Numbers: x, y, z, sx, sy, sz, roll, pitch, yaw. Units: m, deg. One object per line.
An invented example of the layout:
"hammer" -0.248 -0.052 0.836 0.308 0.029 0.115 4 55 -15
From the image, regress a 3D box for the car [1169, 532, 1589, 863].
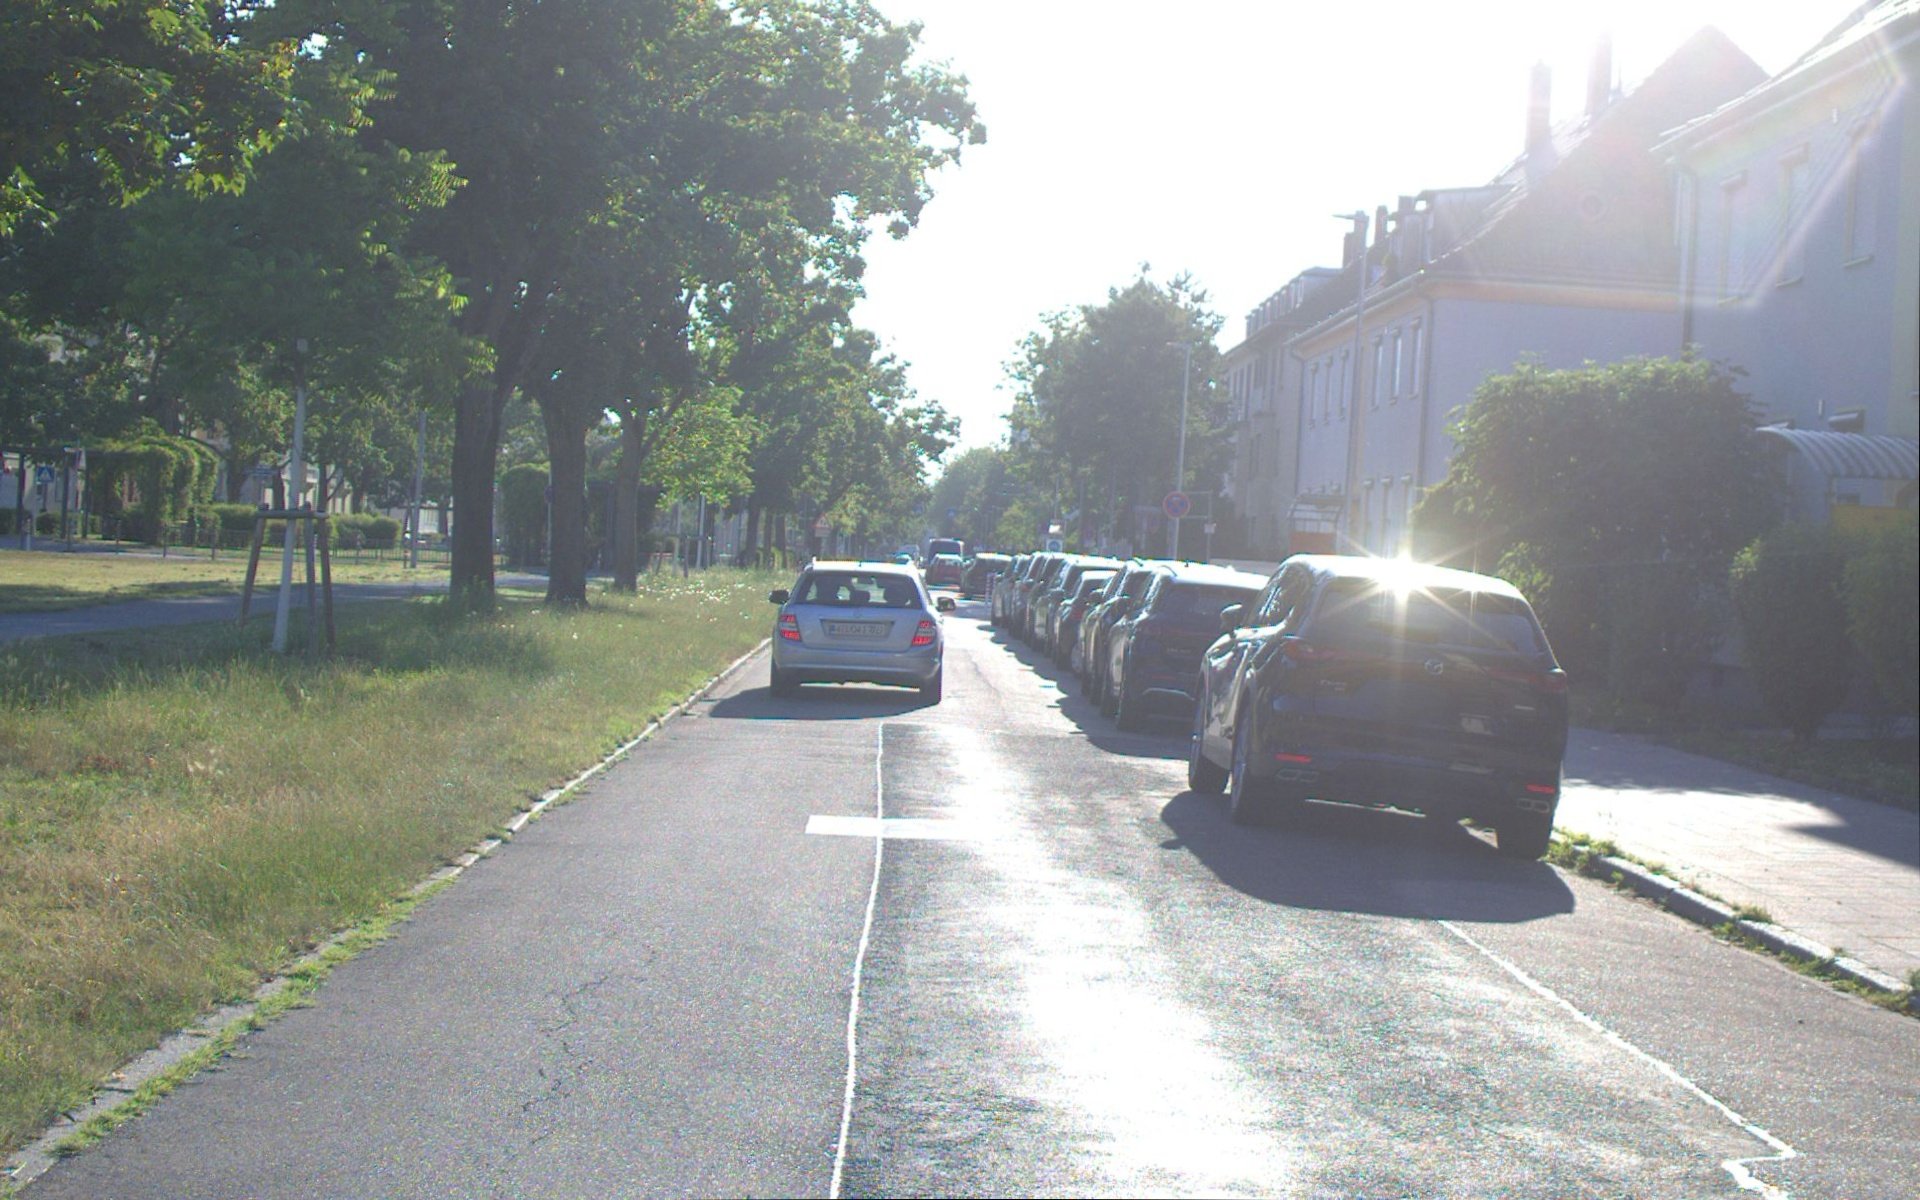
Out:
"car" 2.548 0.538 22.178 1.832 1.726 5.032 6 0 -1

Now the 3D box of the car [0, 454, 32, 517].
"car" -44.278 -5.166 151.087 6.294 2.711 2.003 3 1 -31

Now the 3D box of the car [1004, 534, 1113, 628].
"car" 1.852 -0.380 66.059 1.777 1.637 4.757 3 1 -1

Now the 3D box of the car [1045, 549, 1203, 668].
"car" 2.322 0.080 49.731 1.993 1.457 4.562 5 1 0

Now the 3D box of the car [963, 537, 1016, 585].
"car" 1.028 -1.352 120.179 1.721 1.591 4.000 3 0 0

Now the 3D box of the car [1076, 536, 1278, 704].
"car" 2.413 0.171 39.359 1.854 1.651 4.820 4 1 -1

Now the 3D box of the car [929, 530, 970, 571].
"car" -0.566 -2.577 178.449 1.988 2.016 4.000 3 1 0

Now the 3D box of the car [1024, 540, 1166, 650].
"car" 2.113 -0.118 54.923 1.724 1.556 4.417 4 1 -4

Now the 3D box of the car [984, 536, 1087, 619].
"car" 1.652 -0.529 76.356 1.716 1.633 4.565 5 1 -4

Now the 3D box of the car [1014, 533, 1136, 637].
"car" 1.994 -0.280 60.729 1.766 1.629 4.765 4 0 -1

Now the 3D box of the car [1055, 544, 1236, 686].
"car" 2.363 0.165 44.803 1.728 1.543 4.208 8 0 -3

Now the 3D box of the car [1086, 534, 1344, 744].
"car" 2.421 0.319 33.835 1.933 1.714 4.622 6 1 -1

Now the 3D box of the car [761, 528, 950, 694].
"car" -1.052 0.070 36.186 1.823 1.561 4.000 2 1 0
